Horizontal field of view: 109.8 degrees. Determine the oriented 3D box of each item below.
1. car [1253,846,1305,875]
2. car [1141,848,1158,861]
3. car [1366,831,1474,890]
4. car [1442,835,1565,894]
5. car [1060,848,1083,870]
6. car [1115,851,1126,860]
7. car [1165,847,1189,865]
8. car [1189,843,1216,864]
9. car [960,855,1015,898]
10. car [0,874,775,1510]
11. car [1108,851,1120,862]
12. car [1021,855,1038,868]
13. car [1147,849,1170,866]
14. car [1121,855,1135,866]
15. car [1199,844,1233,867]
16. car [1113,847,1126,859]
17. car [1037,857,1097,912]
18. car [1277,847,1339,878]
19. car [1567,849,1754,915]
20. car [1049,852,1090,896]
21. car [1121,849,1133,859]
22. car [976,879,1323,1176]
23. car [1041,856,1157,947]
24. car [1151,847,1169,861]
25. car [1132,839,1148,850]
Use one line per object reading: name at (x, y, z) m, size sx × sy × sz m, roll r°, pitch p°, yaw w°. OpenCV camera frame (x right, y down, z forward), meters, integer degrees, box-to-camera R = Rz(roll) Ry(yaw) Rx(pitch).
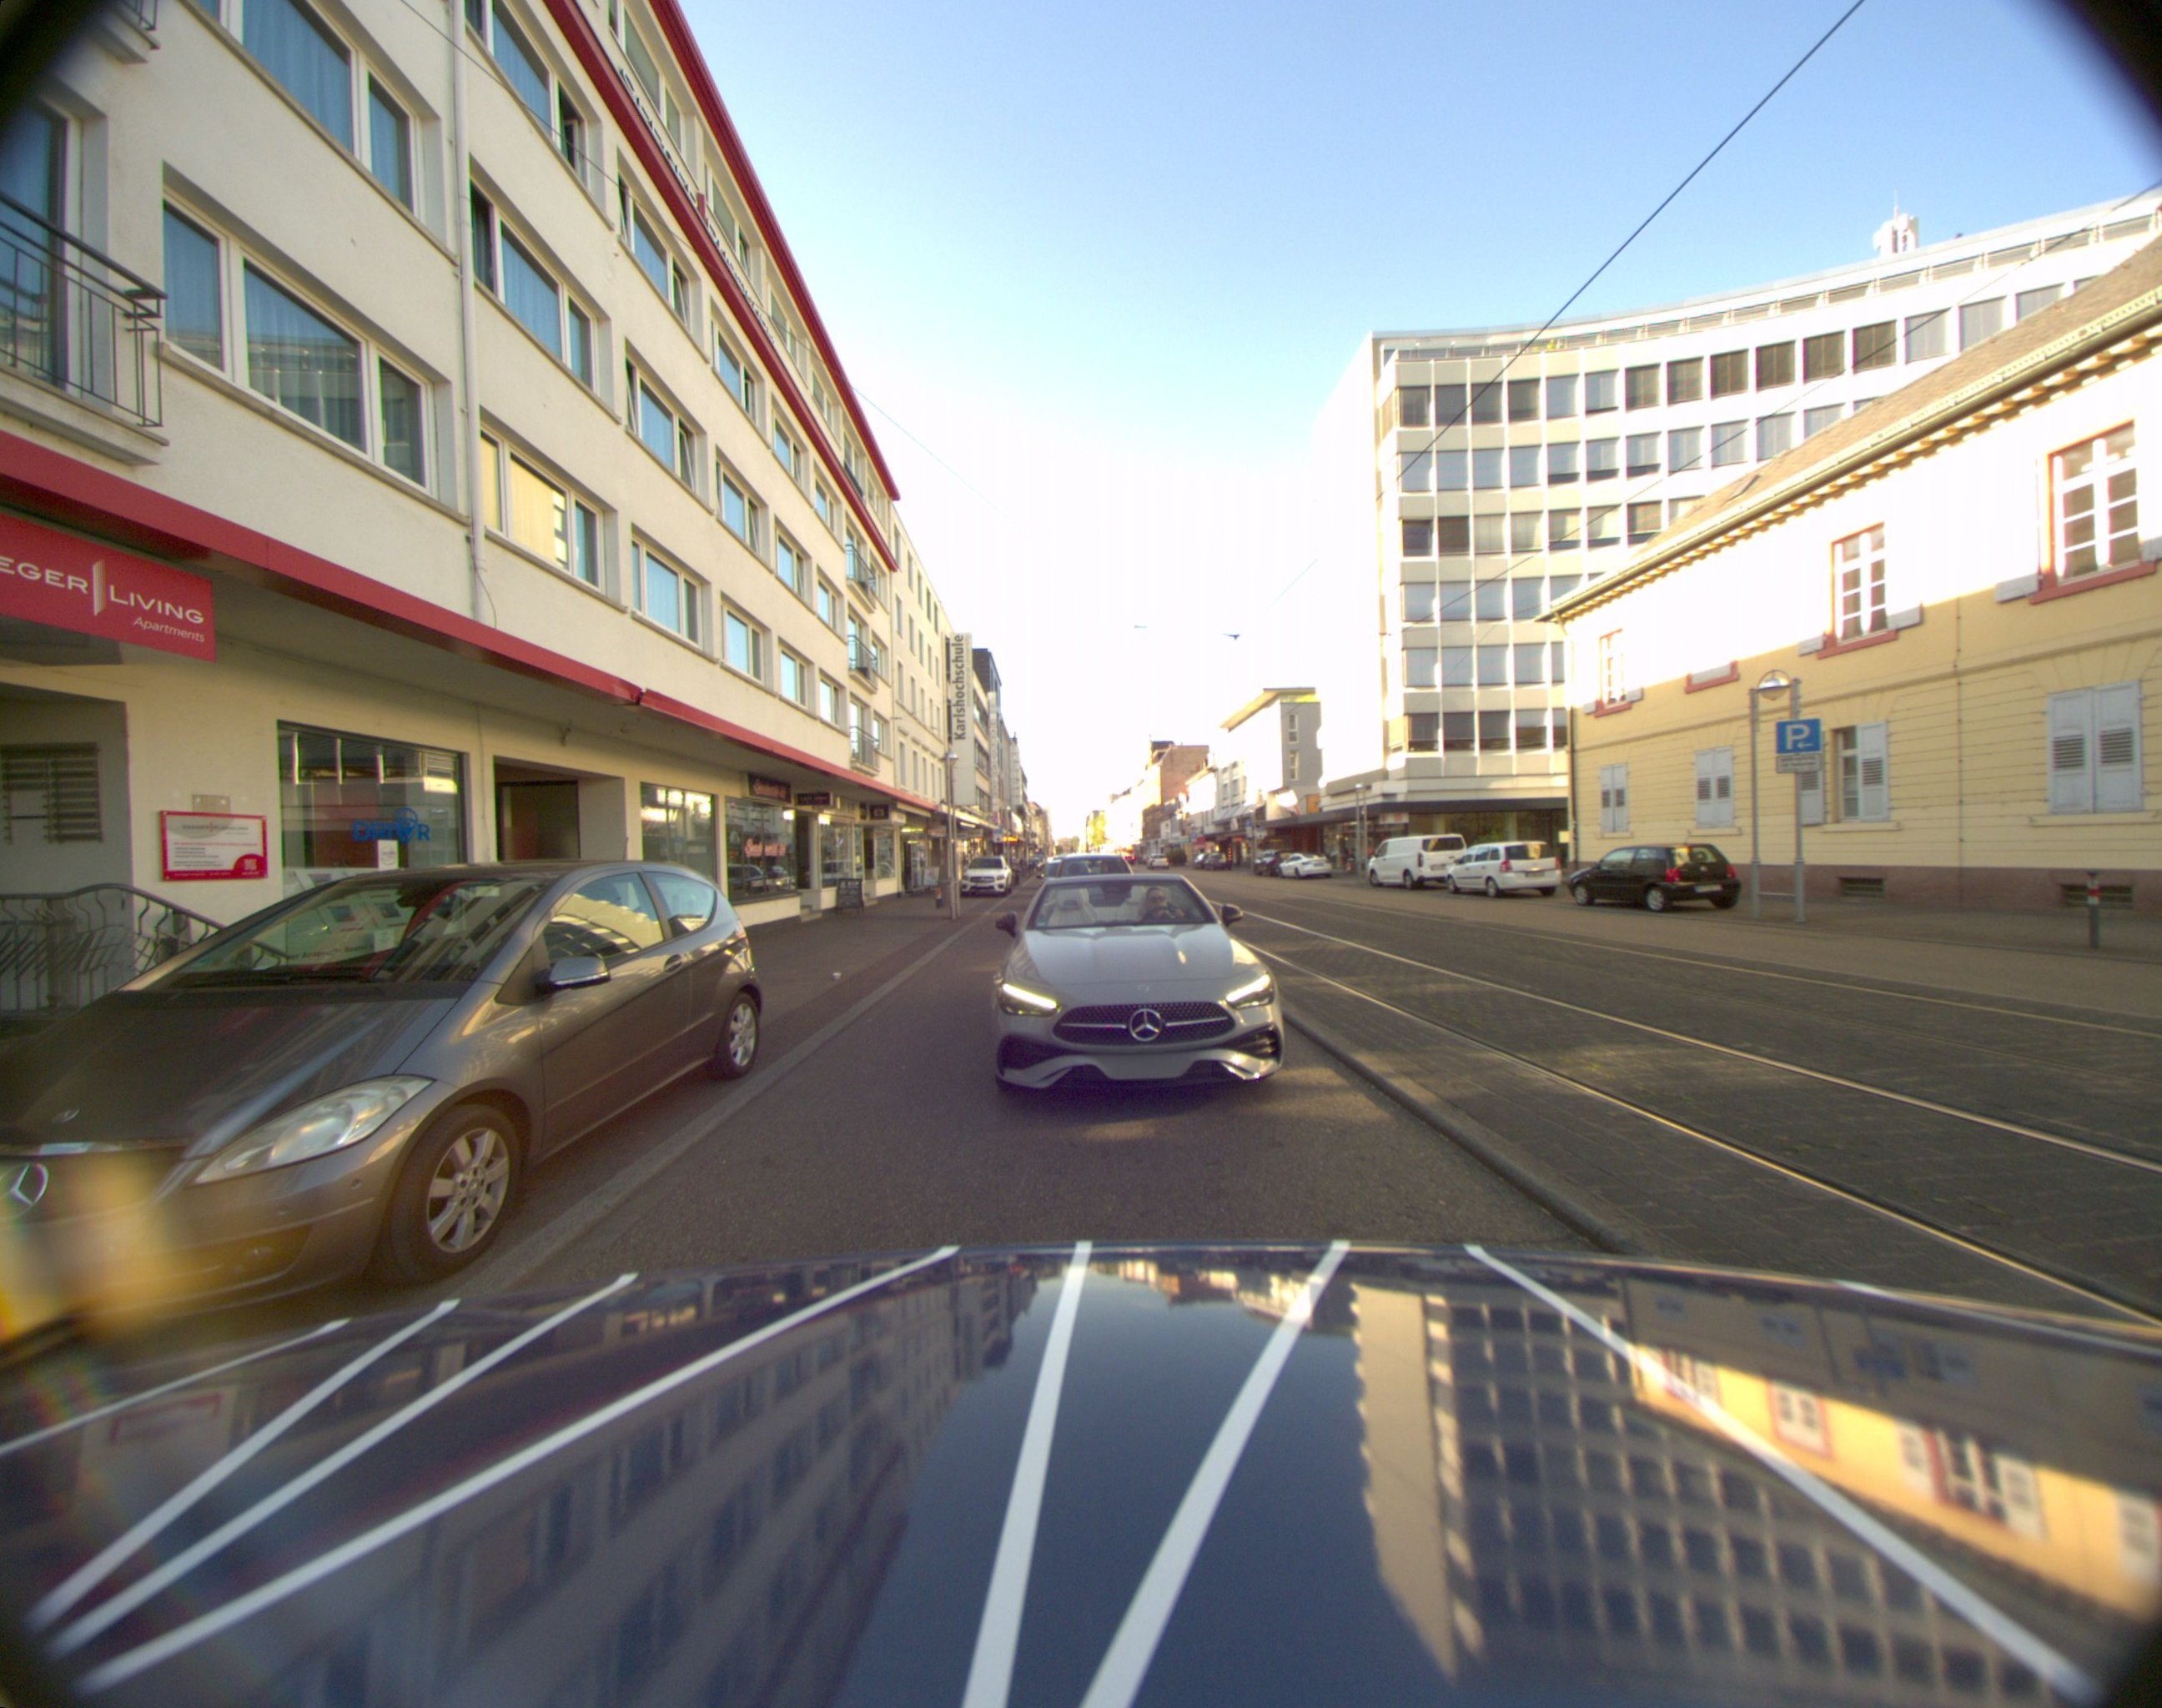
car at (12.338, 0.362, 47.694) m, size 1.999 × 1.694 × 4.107 m, roll -3°, pitch 1°, yaw -2°
car at (11.002, 0.015, 121.793) m, size 1.999 × 2.002 × 5.320 m, roll -1°, pitch 0°, yaw -2°
car at (12.688, 0.231, 28.798) m, size 2.040 × 2.002 × 4.621 m, roll -1°, pitch 0°, yaw 1°
car at (12.730, 0.270, 23.167) m, size 1.641 × 1.600 × 4.005 m, roll -2°, pitch 1°, yaw 3°
car at (-0.855, 0.430, 68.402) m, size 1.999 × 1.793 × 3.999 m, roll -2°, pitch 1°, yaw -1°
car at (9.133, 0.367, 176.571) m, size 2.148 × 1.850 × 3.998 m, roll -2°, pitch 1°, yaw -2°
car at (11.424, 0.177, 90.375) m, size 2.200 × 2.030 × 3.999 m, roll -1°, pitch 0°, yaw -1°
car at (11.820, -0.055, 74.085) m, size 1.789 × 1.870 × 3.999 m, roll -1°, pitch 0°, yaw -2°
car at (-3.840, 0.890, 31.730) m, size 1.999 × 1.620 × 3.998 m, roll -1°, pitch 0°, yaw -4°
car at (-3.231, 0.955, 3.955) m, size 1.683 × 1.537 × 3.999 m, roll -2°, pitch 0°, yaw -1°
car at (6.585, 0.433, 150.695) m, size 1.999 × 2.002 × 3.998 m, roll -2°, pitch 1°, yaw -2°
car at (-5.991, 0.850, 88.284) m, size 1.714 × 1.430 × 3.756 m, roll -2°, pitch 1°, yaw -1°
car at (7.730, 0.340, 76.040) m, size 1.760 × 1.587 × 3.999 m, roll -1°, pitch 0°, yaw -2°
car at (7.060, 0.899, 113.940) m, size 1.964 × 1.499 × 4.000 m, roll -2°, pitch 1°, yaw 4°
car at (11.642, 0.106, 65.598) m, size 1.999 × 1.849 × 3.998 m, roll -2°, pitch 1°, yaw -2°
car at (6.830, -0.196, 136.423) m, size 1.914 × 1.883 × 3.855 m, roll -2°, pitch 1°, yaw -2°
car at (-0.450, 0.884, 23.650) m, size 1.648 × 1.506 × 3.844 m, roll -2°, pitch 0°, yaw -2°
car at (12.536, 0.424, 42.265) m, size 1.999 × 1.521 × 4.373 m, roll -2°, pitch 1°, yaw -1°
car at (12.836, 0.560, 17.073) m, size 1.688 × 1.246 × 3.212 m, roll -2°, pitch 1°, yaw -1°
car at (-0.511, 0.807, 32.143) m, size 1.573 × 1.670 × 3.688 m, roll -2°, pitch 1°, yaw -1°
car at (9.569, -0.023, 157.322) m, size 1.999 × 2.002 × 3.999 m, roll -1°, pitch 0°, yaw -2°
car at (0.249, 1.011, 6.183) m, size 1.884 × 1.375 × 3.998 m, roll -2°, pitch 1°, yaw -4°
car at (0.215, 0.849, 15.499) m, size 1.927 × 1.533 × 3.998 m, roll -2°, pitch 0°, yaw -4°
car at (11.563, -0.019, 111.429) m, size 1.999 × 2.002 × 3.998 m, roll -2°, pitch 1°, yaw -2°
car at (10.334, -1.669, 134.391) m, size 2.000 × 2.002 × 3.997 m, roll -2°, pitch 1°, yaw -7°
